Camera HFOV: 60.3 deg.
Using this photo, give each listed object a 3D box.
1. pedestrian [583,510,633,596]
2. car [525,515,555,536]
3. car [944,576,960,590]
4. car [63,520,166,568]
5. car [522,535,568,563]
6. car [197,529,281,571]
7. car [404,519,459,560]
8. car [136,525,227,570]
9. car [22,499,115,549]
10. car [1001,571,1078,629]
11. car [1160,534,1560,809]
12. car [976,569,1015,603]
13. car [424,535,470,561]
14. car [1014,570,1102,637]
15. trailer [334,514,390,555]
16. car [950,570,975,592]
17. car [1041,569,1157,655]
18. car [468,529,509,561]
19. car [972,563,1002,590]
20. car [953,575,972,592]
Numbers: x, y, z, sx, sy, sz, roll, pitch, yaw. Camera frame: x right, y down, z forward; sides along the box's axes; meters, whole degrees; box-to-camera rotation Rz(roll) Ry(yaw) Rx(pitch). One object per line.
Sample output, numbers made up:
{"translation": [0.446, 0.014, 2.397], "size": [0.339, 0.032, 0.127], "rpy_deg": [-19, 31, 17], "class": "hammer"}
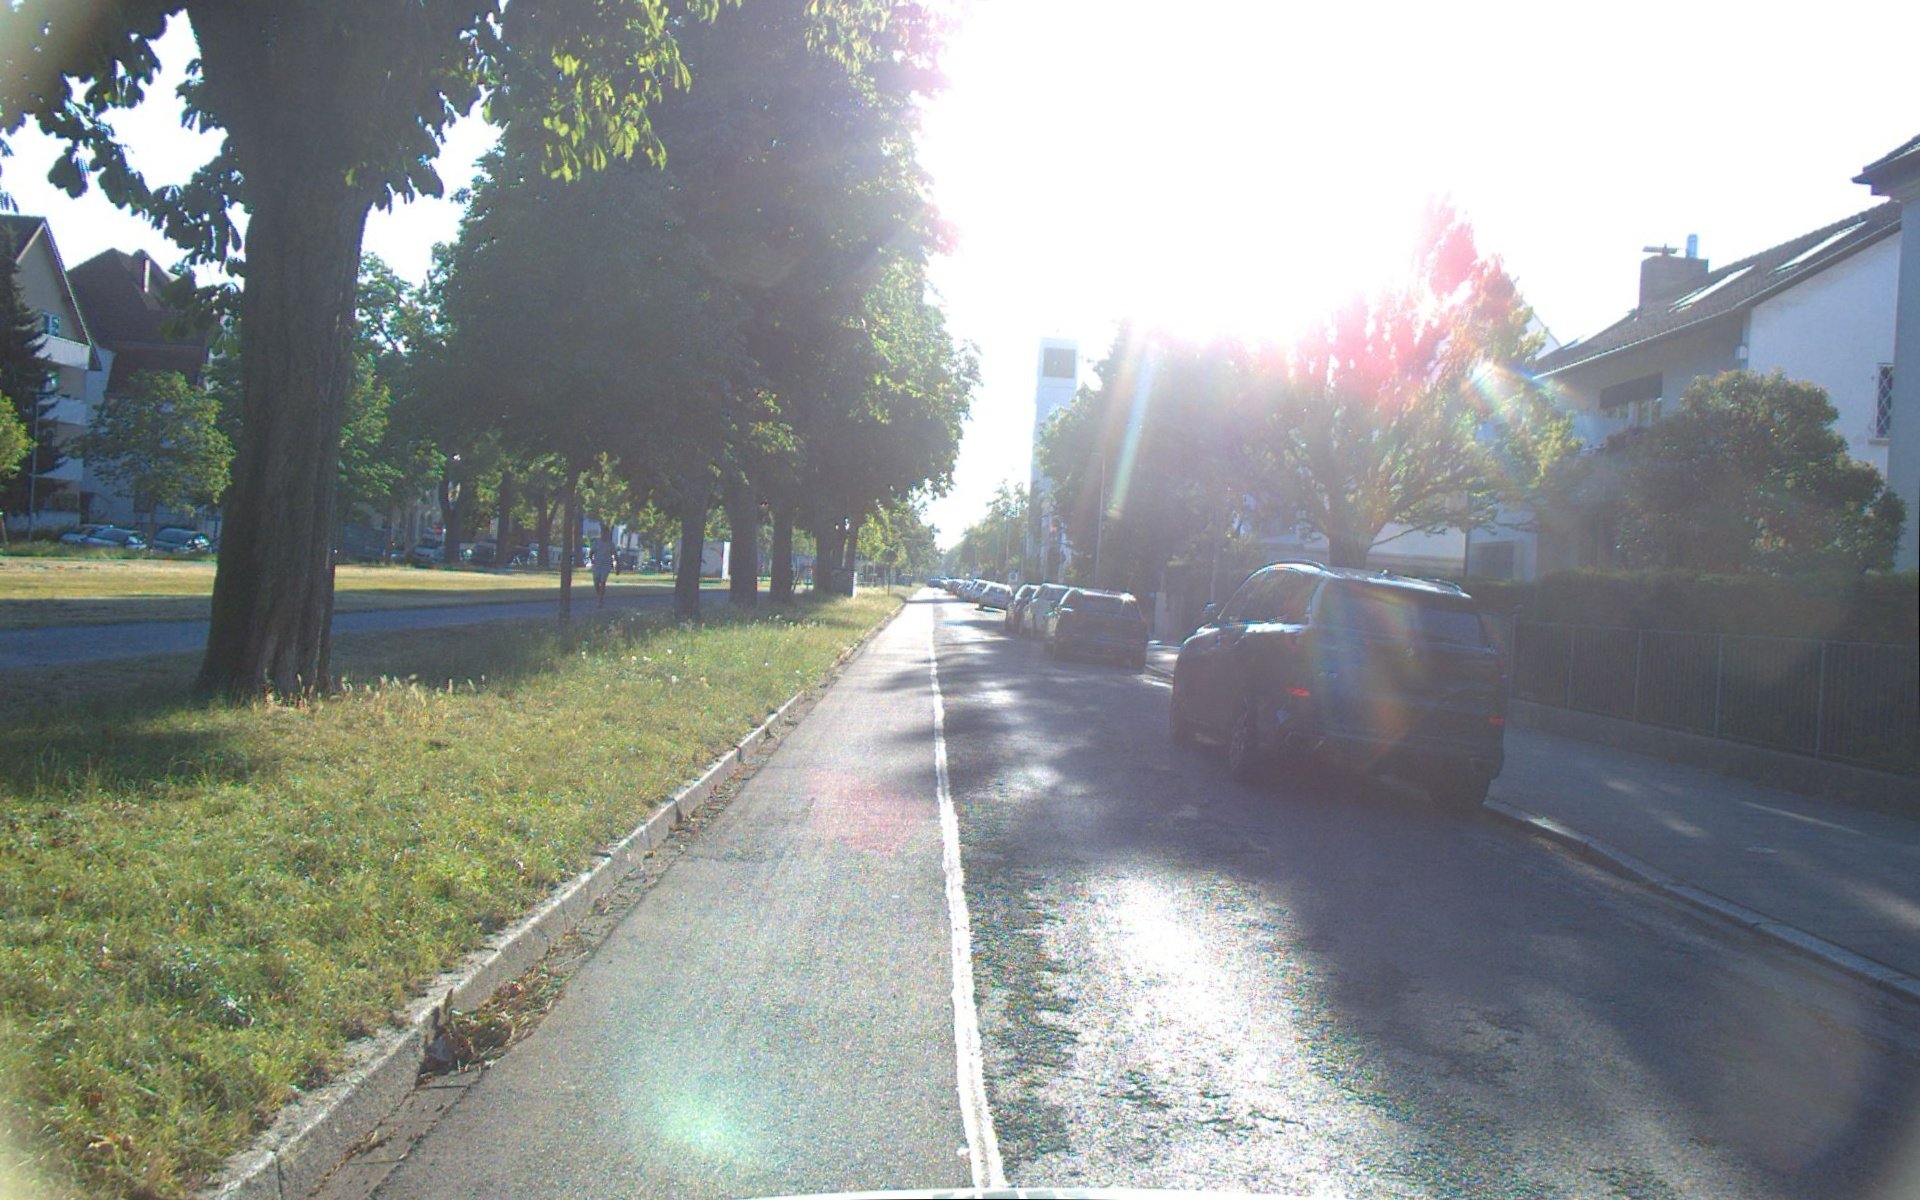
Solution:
{"translation": [-7.658, -1.016, 35.984], "size": [0.709, 1.788, 0.994], "rpy_deg": [4, 1, 5], "class": "pedestrian"}
{"translation": [-42.170, -7.478, 166.061], "size": [1.953, 2.048, 4.484], "rpy_deg": [2, 2, -2], "class": "car"}
{"translation": [-1.018, -2.146, 211.709], "size": [1.940, 1.712, 4.000], "rpy_deg": [3, 1, 0], "class": "car"}
{"translation": [-34.264, -2.244, 67.158], "size": [1.953, 1.713, 4.001], "rpy_deg": [4, 0, 1], "class": "car"}
{"translation": [-35.383, -4.330, 141.253], "size": [2.483, 2.275, 5.458], "rpy_deg": [3, 1, -1], "class": "car"}
{"translation": [-34.076, -2.334, 78.267], "size": [1.953, 1.751, 4.255], "rpy_deg": [4, 0, 0], "class": "car"}
{"translation": [-40.980, -4.669, 128.441], "size": [2.388, 2.973, 5.817], "rpy_deg": [1, 0, -1], "class": "car"}
{"translation": [-34.101, -2.263, 72.567], "size": [1.953, 1.713, 4.001], "rpy_deg": [4, 0, 1], "class": "car"}
{"translation": [-40.176, -3.395, 74.633], "size": [1.990, 2.049, 4.000], "rpy_deg": [1, 0, 0], "class": "car"}
{"translation": [2.321, -0.033, 49.368], "size": [1.715, 1.502, 4.285], "rpy_deg": [5, 1, -4], "class": "car"}
{"translation": [3.190, 0.478, 14.373], "size": [1.955, 1.766, 4.862], "rpy_deg": [7, 1, -2], "class": "car"}
{"translation": [1.826, -0.753, 86.595], "size": [1.723, 1.443, 4.072], "rpy_deg": [10, 1, -1], "class": "car"}
{"translation": [-34.766, -3.504, 112.155], "size": [1.650, 1.586, 4.314], "rpy_deg": [3, 1, 0], "class": "car"}
{"translation": [2.581, 0.049, 44.362], "size": [1.659, 1.507, 3.925], "rpy_deg": [8, 0, -5], "class": "car"}
{"translation": [-40.493, -4.408, 112.048], "size": [1.953, 2.470, 4.723], "rpy_deg": [3, 1, -1], "class": "trailer"}
{"translation": [0.181, -1.490, 130.430], "size": [1.723, 1.632, 4.357], "rpy_deg": [3, 1, -2], "class": "car"}
{"translation": [2.772, 0.212, 33.918], "size": [1.757, 1.517, 4.673], "rpy_deg": [4, 0, -2], "class": "car"}
{"translation": [-34.996, -4.049, 122.843], "size": [1.651, 2.213, 4.314], "rpy_deg": [4, 1, 0], "class": "car"}
{"translation": [1.780, -1.586, 110.126], "size": [1.723, 1.632, 4.357], "rpy_deg": [3, 1, -2], "class": "car"}
{"translation": [0.252, -1.799, 177.208], "size": [1.953, 1.657, 4.000], "rpy_deg": [4, 1, 0], "class": "car"}
